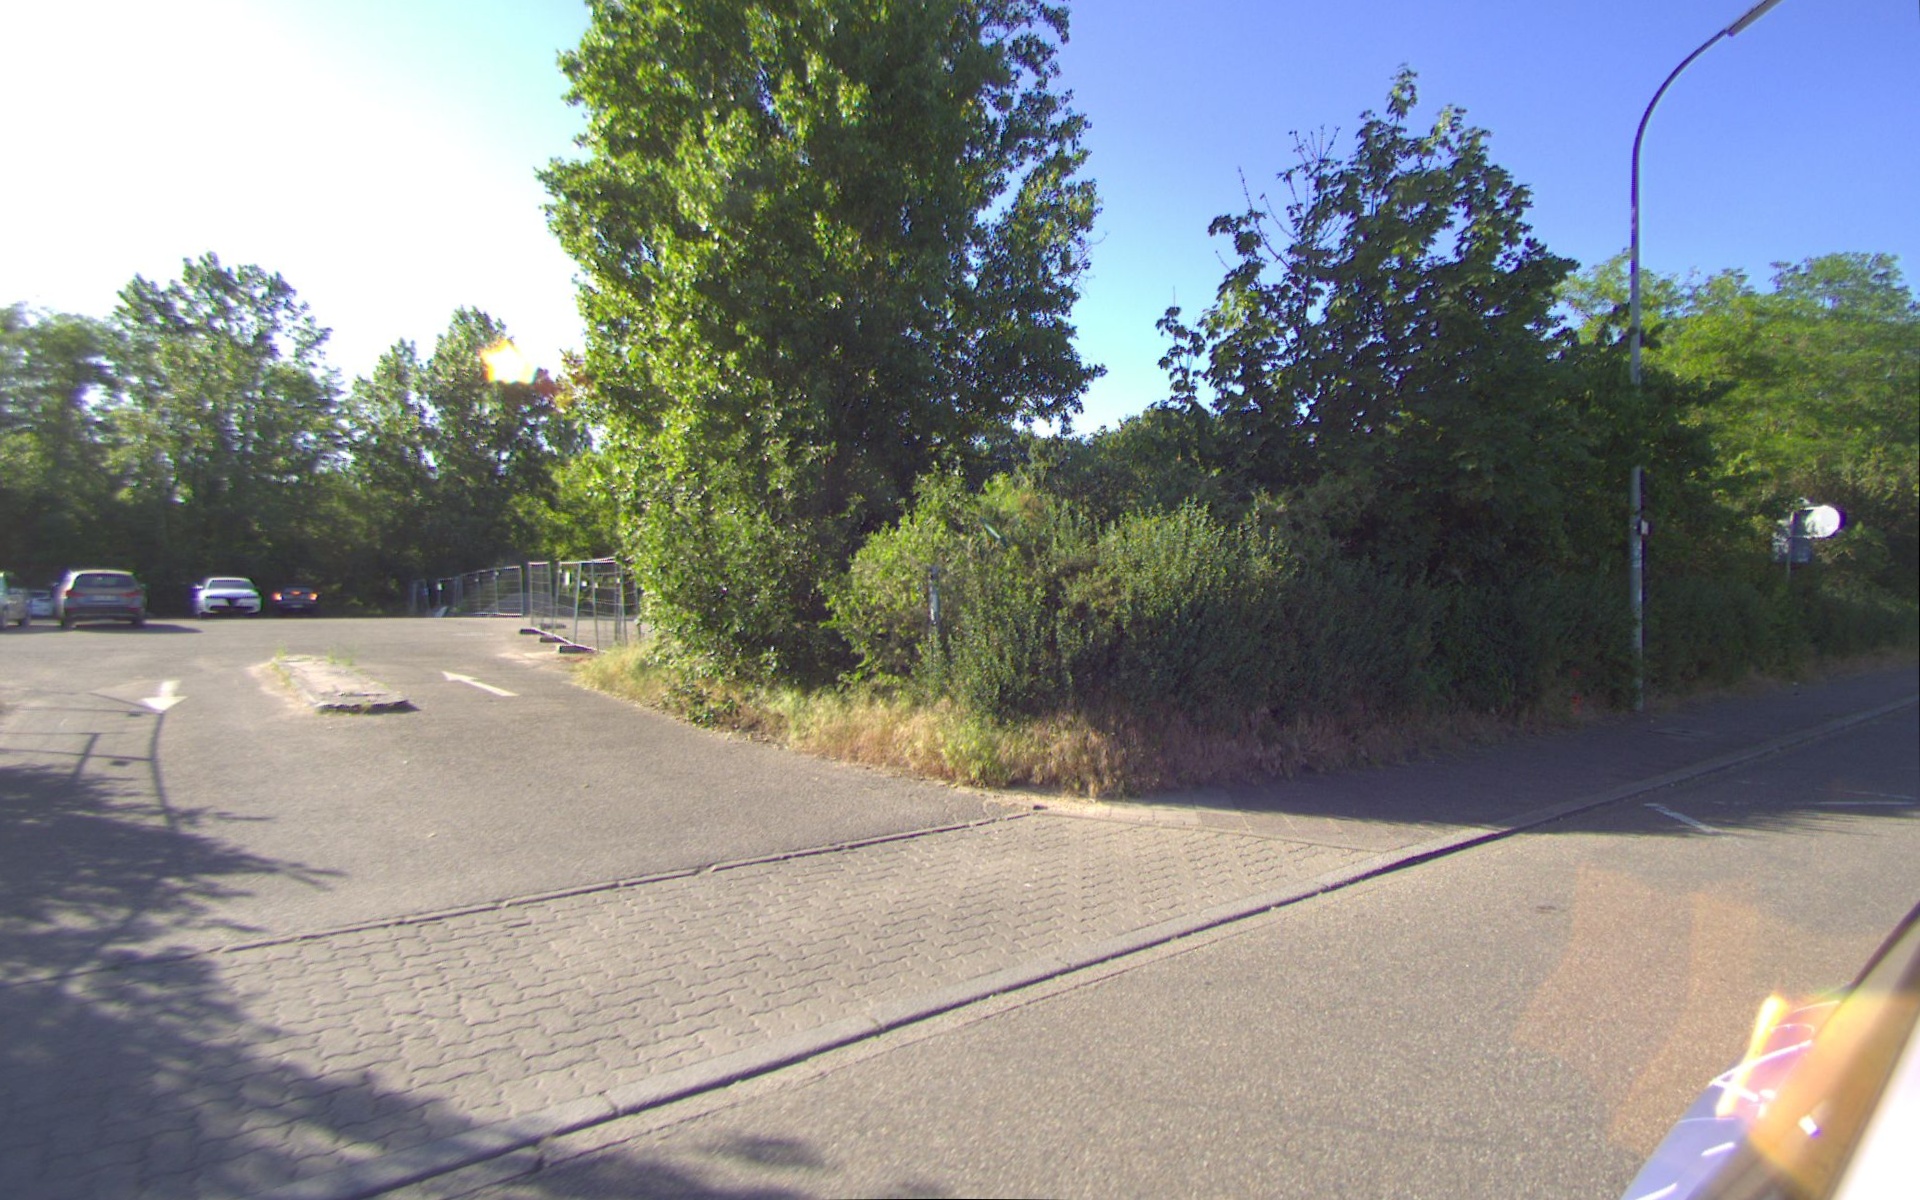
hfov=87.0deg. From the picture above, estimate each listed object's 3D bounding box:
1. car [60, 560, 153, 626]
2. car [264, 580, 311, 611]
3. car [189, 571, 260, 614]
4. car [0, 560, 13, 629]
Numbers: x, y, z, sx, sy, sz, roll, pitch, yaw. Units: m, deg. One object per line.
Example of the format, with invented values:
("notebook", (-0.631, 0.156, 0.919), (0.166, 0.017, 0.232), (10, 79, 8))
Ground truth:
("car", (-23.527, -0.247, 27.875), (1.849, 1.674, 3.941), (0, 2, -41))
("car", (-35.641, -0.195, 53.614), (1.778, 1.546, 3.996), (0, -1, -38))
("car", (-28.252, -0.247, 38.832), (1.780, 1.546, 3.991), (0, -1, -42))
("car", (-25.578, -0.184, 25.888), (1.849, 1.676, 3.941), (0, 2, -41))
